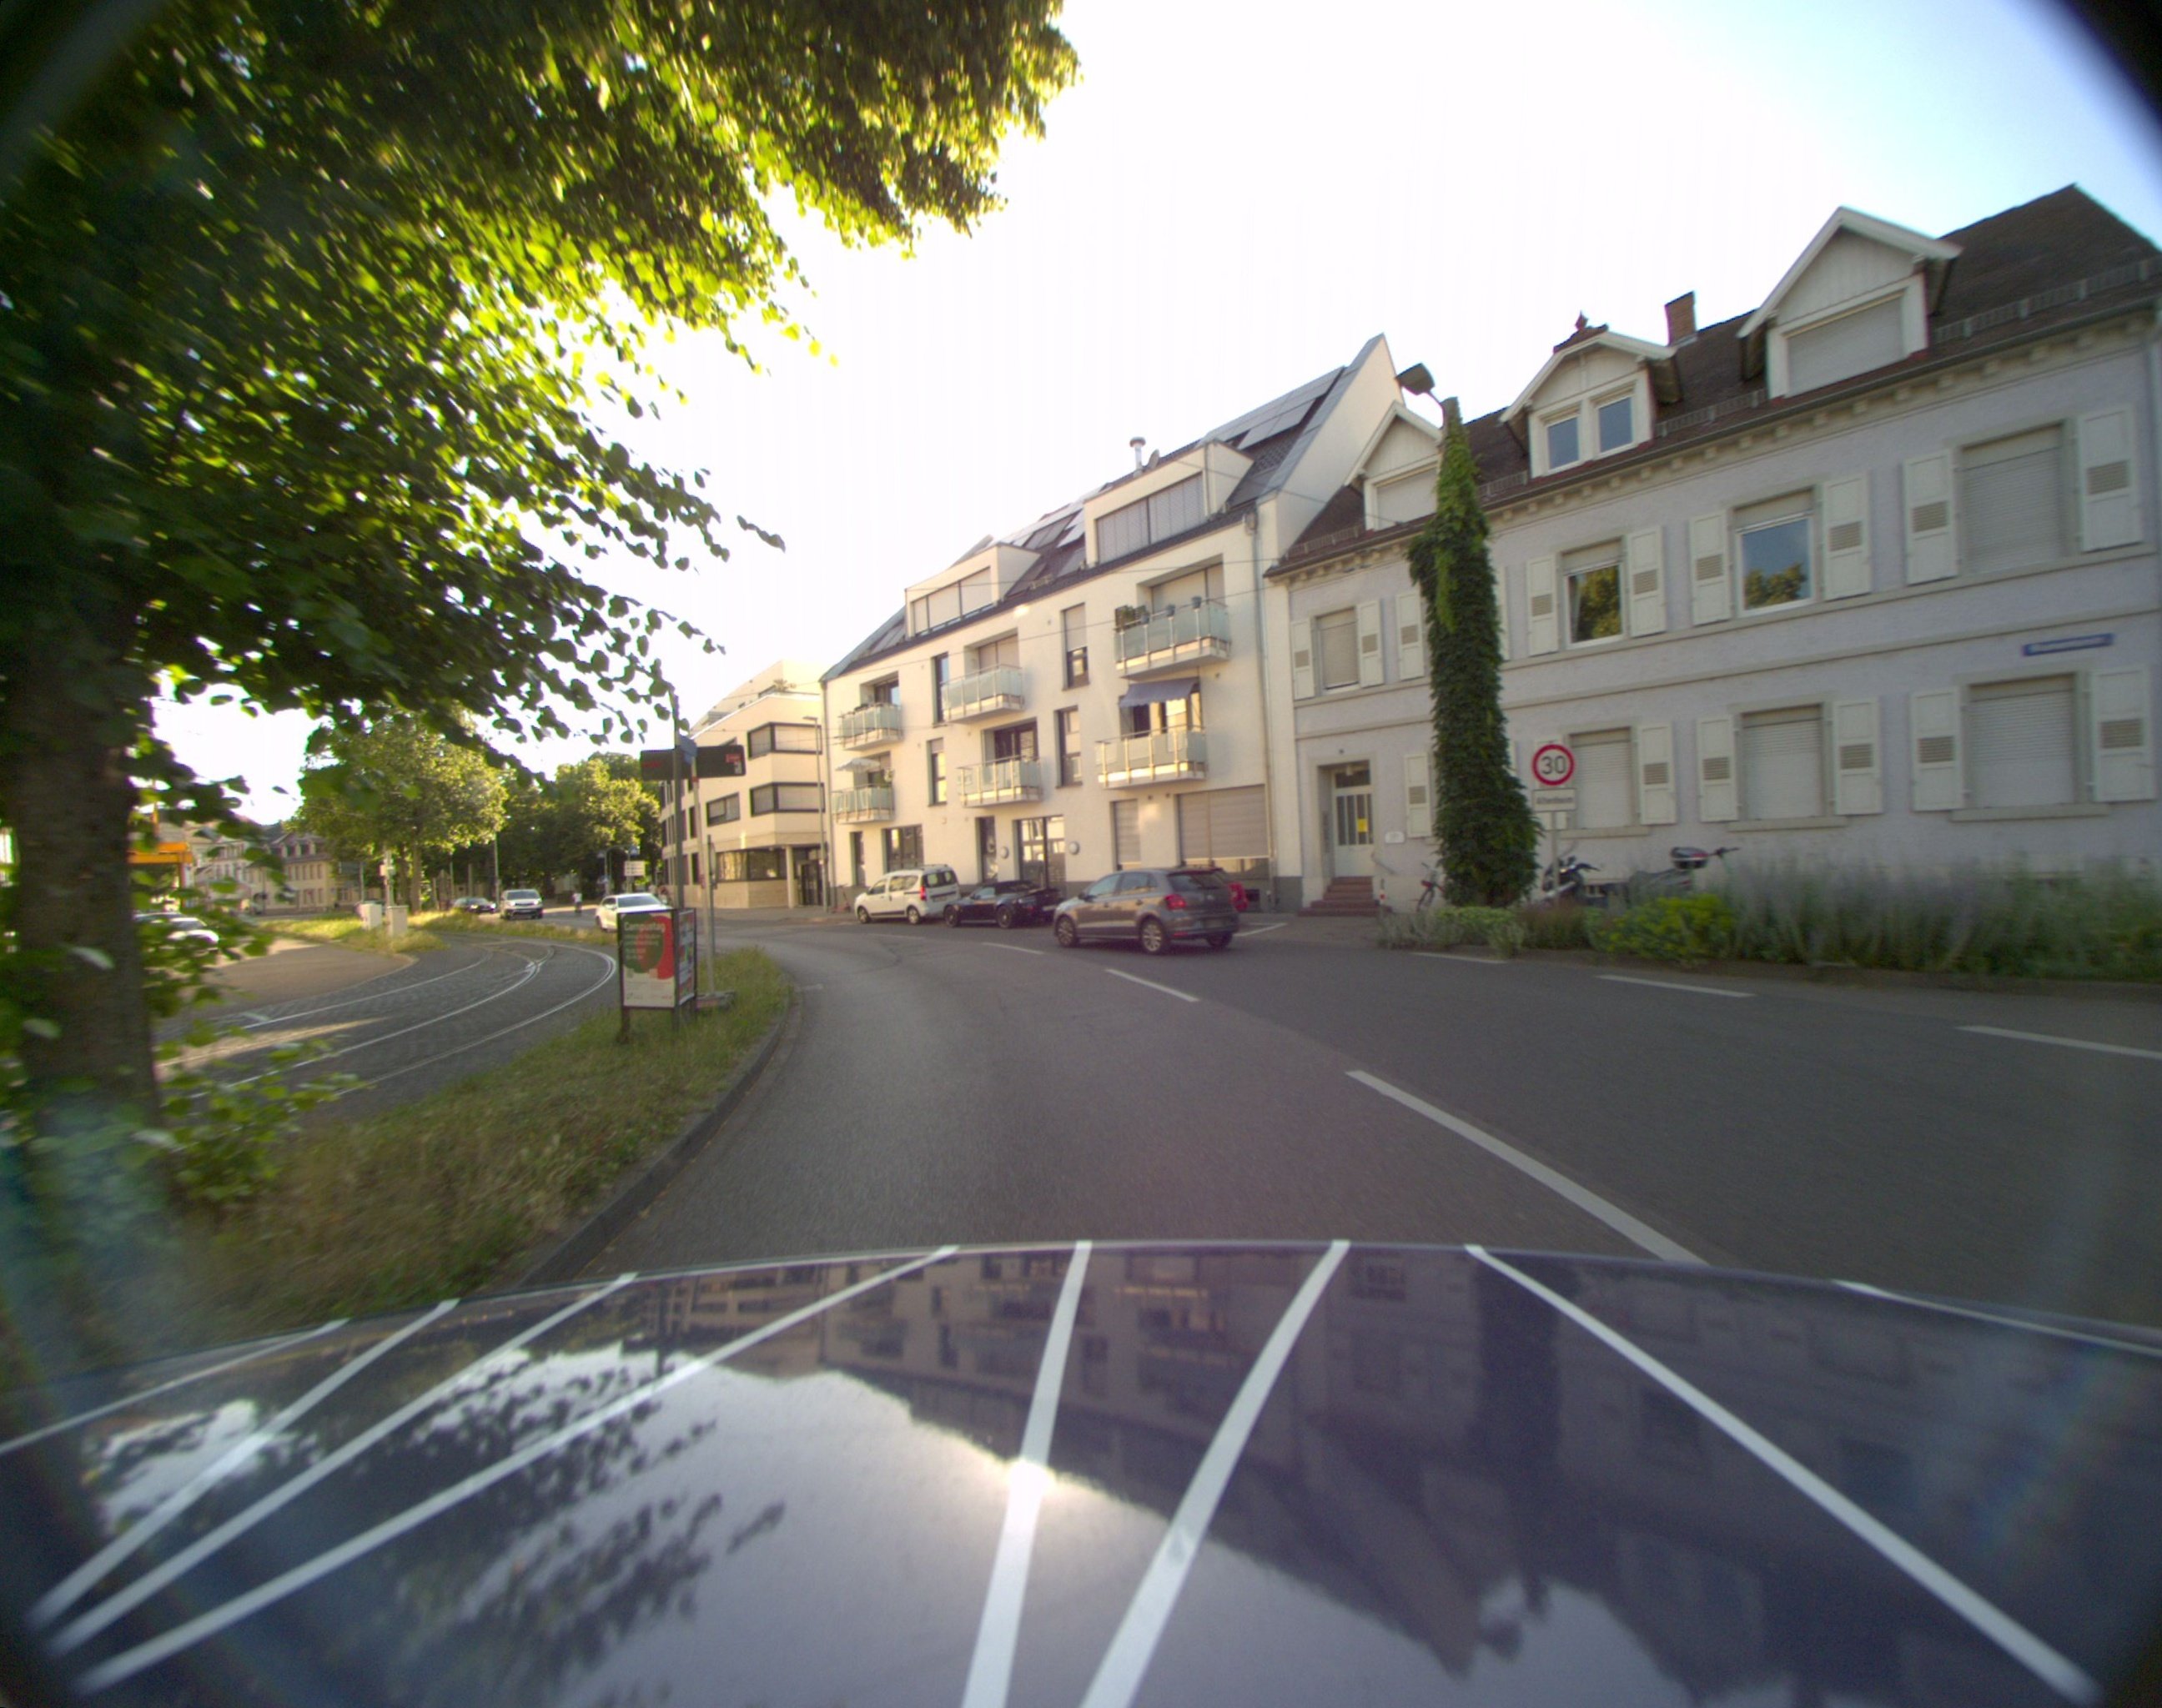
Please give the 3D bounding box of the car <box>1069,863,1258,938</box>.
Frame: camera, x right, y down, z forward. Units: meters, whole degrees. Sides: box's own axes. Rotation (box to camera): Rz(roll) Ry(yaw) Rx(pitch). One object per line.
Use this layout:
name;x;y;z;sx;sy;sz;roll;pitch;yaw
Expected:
car;1.850;1.100;18.432;1.717;1.458;4.580;-5;1;-39

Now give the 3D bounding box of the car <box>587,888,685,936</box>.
car;-16.916;2.139;28.759;4.759;1.455;1.858;-2;3;44

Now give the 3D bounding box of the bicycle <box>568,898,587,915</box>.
bicycle;-32.837;3.405;49.566;1.779;1.075;0.626;-2;0;44

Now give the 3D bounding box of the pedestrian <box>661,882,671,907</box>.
pedestrian;-28.062;2.710;51.366;0.476;1.638;0.601;-4;0;-30

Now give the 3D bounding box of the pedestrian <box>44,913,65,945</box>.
pedestrian;-47.684;3.481;35.287;0.460;1.432;0.526;-2;0;37

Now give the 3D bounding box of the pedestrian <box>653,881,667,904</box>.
pedestrian;-32.206;2.946;58.121;0.706;1.704;0.840;-4;1;-40

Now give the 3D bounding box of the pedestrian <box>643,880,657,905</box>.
pedestrian;-32.720;2.902;57.692;0.608;1.838;0.990;-4;1;-40

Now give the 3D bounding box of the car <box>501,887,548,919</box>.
car;-35.176;3.076;47.999;2.004;1.843;4.890;-2;-1;-40

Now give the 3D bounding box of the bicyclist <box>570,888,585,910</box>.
bicyclist;-32.781;2.943;49.495;0.799;1.372;0.626;-2;0;44

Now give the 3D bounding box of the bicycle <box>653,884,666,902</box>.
bicycle;-28.374;2.648;51.118;0.442;1.171;1.962;-4;-1;-37

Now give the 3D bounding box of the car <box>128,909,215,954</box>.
car;-37.999;3.175;31.722;4.629;1.563;2.004;-2;0;36

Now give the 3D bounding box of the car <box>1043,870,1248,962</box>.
car;1.020;1.036;13.736;1.721;1.394;3.730;-1;-2;-33

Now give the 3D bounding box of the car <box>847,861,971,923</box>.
car;-5.926;1.290;25.957;4.321;1.858;1.820;-3;0;41

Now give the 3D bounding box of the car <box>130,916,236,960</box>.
car;-33.802;3.120;28.567;4.435;1.378;2.004;-4;-1;33

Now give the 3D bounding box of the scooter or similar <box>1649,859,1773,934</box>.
scooter or similar;10.749;0.732;13.020;1.537;1.222;0.510;-3;1;27

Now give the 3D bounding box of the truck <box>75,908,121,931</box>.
truck;-74.834;4.987;57.840;4.086;1.576;2.004;-4;-1;36

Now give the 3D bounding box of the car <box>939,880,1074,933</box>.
car;-2.235;1.462;22.062;1.672;1.266;4.015;-6;2;-44

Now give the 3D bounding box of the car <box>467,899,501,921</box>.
car;-49.139;4.601;62.475;1.719;1.607;3.989;-3;0;-44

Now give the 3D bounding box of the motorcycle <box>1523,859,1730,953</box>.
motorcycle;8.608;0.813;12.161;2.558;1.350;0.935;-3;1;32

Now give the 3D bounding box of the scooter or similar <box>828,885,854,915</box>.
scooter or similar;-10.247;1.953;32.450;1.152;1.213;0.225;-4;1;29
